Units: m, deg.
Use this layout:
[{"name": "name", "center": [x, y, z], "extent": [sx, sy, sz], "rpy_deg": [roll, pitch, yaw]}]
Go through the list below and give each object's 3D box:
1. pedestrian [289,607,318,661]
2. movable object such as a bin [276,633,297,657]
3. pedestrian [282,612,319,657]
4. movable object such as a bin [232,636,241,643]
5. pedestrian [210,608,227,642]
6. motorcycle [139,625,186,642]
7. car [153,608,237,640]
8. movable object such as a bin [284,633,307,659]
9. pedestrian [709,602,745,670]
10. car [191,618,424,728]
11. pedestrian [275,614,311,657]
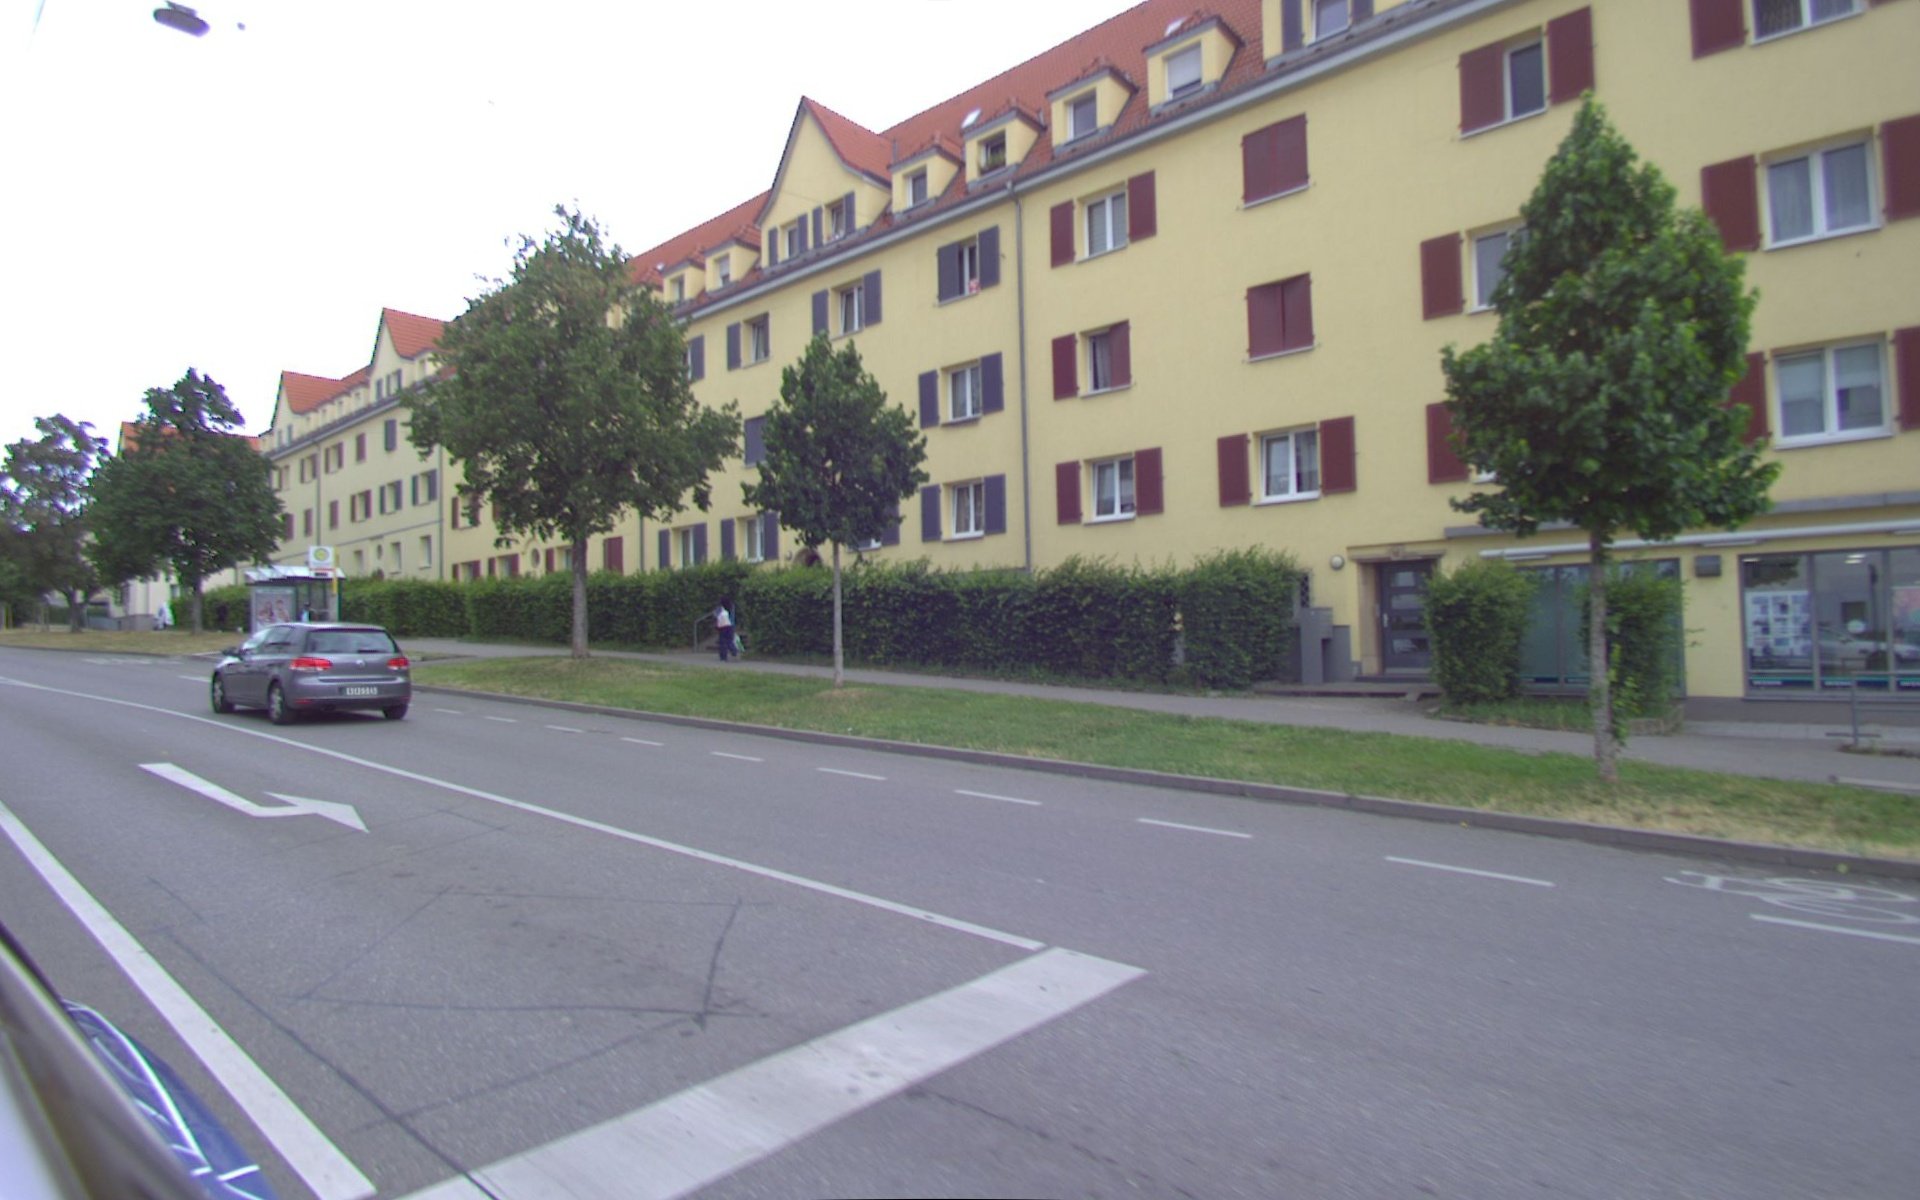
[{"name": "pedestrian", "center": [-21.552, 1.107, 33.225], "extent": [0.861, 1.740, 0.591], "rpy_deg": [-1, -1, 43]}, {"name": "movable object such as a bin", "center": [-23.985, 1.606, 36.052], "extent": [0.665, 0.832, 0.459], "rpy_deg": [-2, -1, 42]}, {"name": "pedestrian", "center": [-22.994, 1.193, 35.281], "extent": [0.806, 1.521, 0.890], "rpy_deg": [-2, -1, 41]}, {"name": "movable object such as a bin", "center": [-38.532, 2.092, 53.921], "extent": [0.303, 0.350, 0.582], "rpy_deg": [1, -2, -44]}, {"name": "pedestrian", "center": [-39.165, 1.336, 53.454], "extent": [0.753, 1.793, 0.508], "rpy_deg": [-2, -2, 40]}, {"name": "motorcycle", "center": [-60.522, 2.528, 76.796], "extent": [2.561, 1.288, 1.020], "rpy_deg": [1, -2, -16]}, {"name": "car", "center": [-57.119, 1.810, 75.660], "extent": [1.994, 2.270, 4.668], "rpy_deg": [-1, -2, 41]}, {"name": "movable object such as a bin", "center": [-23.094, 1.596, 35.167], "extent": [0.665, 0.852, 0.531], "rpy_deg": [-2, -1, 42]}, {"name": "pedestrian", "center": [-5.746, 0.879, 24.934], "extent": [0.617, 1.631, 0.634], "rpy_deg": [-2, -2, 40]}, {"name": "car", "center": [-10.188, 1.082, 15.680], "extent": [4.302, 1.484, 1.738], "rpy_deg": [-1, -5, 40]}, {"name": "pedestrian", "center": [-23.851, 1.250, 36.186], "extent": [0.806, 1.485, 0.890], "rpy_deg": [-2, -1, 41]}]
